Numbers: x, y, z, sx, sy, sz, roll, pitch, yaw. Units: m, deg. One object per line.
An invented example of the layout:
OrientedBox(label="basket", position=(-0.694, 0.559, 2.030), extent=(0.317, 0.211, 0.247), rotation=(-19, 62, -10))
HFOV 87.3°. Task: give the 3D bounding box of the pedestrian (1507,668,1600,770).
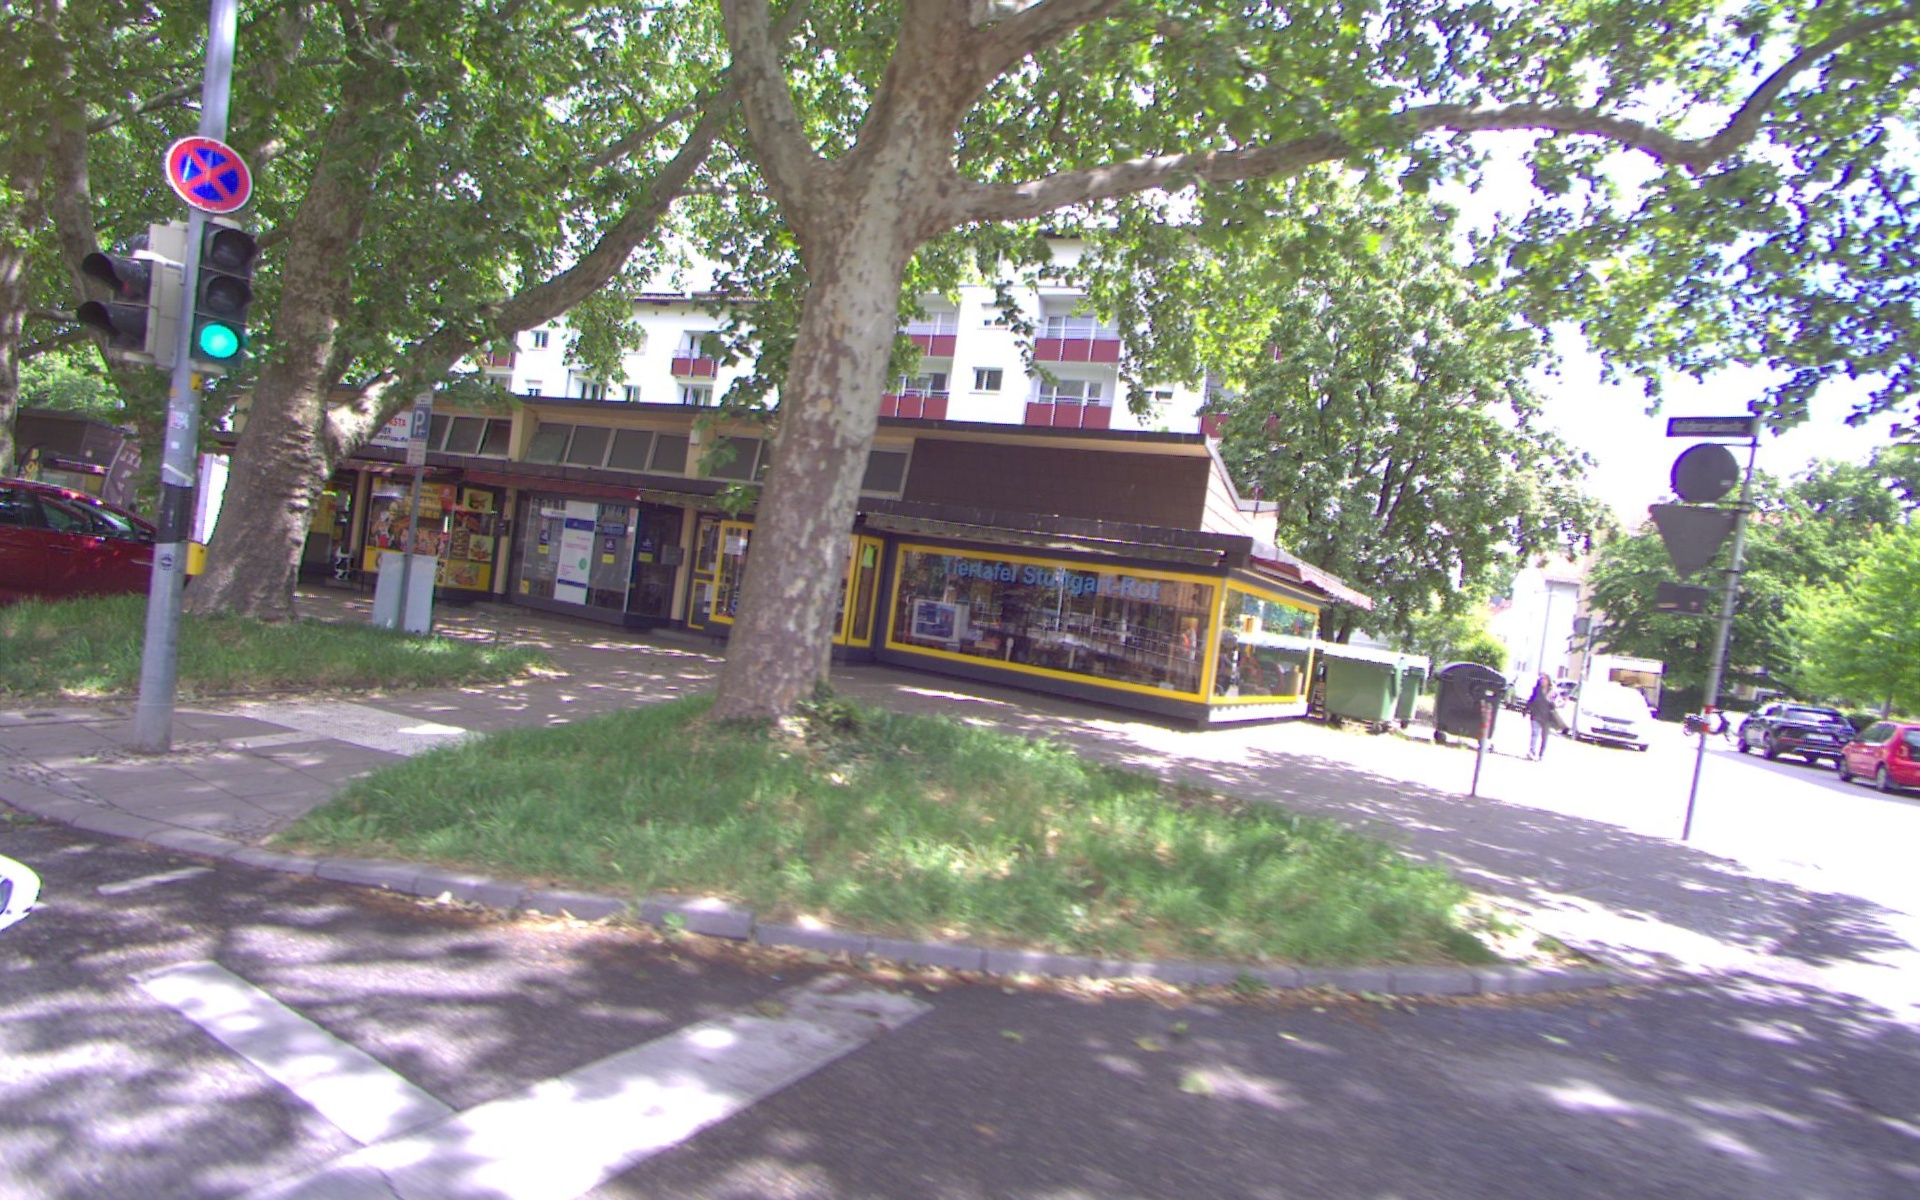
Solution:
OrientedBox(label="pedestrian", position=(10.116, 2.004, 17.185), extent=(1.082, 1.494, 0.809), rotation=(11, 3, 27))

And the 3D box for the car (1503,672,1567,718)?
OrientedBox(label="car", position=(22.770, 3.727, 39.958), extent=(1.700, 1.459, 3.512), rotation=(7, 0, 24))

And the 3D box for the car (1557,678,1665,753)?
OrientedBox(label="car", position=(16.476, 2.874, 25.630), extent=(1.626, 1.504, 3.467), rotation=(7, 0, 24))

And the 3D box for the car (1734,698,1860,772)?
OrientedBox(label="car", position=(23.269, 3.704, 28.112), extent=(1.611, 1.571, 3.843), rotation=(7, 0, 25))

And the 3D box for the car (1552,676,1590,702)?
OrientedBox(label="car", position=(40.011, 5.831, 65.909), extent=(1.536, 1.449, 3.343), rotation=(7, -2, 24))

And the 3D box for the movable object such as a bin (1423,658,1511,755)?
OrientedBox(label="movable object such as a bin", position=(8.761, 1.804, 17.381), extent=(1.124, 1.431, 1.183), rotation=(10, 3, 28))

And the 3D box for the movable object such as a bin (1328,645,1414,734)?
OrientedBox(label="movable object such as a bin", position=(7.770, 1.654, 18.993), extent=(1.191, 1.431, 1.177), rotation=(10, 3, 28))

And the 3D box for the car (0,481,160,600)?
OrientedBox(label="car", position=(-13.389, -0.887, 13.782), extent=(1.582, 1.535, 3.410), rotation=(7, 2, 28))

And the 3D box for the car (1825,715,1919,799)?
OrientedBox(label="car", position=(20.140, 3.360, 21.380), extent=(1.609, 1.455, 3.487), rotation=(7, 0, 25))

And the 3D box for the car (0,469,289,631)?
OrientedBox(label="car", position=(-10.059, -0.569, 11.116), extent=(1.703, 1.633, 4.026), rotation=(7, 3, 35))

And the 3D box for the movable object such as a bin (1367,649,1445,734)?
OrientedBox(label="movable object such as a bin", position=(8.821, 1.783, 19.874), extent=(1.124, 1.431, 1.183), rotation=(10, 3, 28))

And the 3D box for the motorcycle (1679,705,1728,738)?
OrientedBox(label="motorcycle", position=(27.887, 4.547, 37.770), extent=(1.327, 1.029, 0.525), rotation=(7, 1, 31))

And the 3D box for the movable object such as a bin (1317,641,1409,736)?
OrientedBox(label="movable object such as a bin", position=(7.172, 1.547, 17.866), extent=(1.191, 1.431, 1.177), rotation=(10, 3, 28))
